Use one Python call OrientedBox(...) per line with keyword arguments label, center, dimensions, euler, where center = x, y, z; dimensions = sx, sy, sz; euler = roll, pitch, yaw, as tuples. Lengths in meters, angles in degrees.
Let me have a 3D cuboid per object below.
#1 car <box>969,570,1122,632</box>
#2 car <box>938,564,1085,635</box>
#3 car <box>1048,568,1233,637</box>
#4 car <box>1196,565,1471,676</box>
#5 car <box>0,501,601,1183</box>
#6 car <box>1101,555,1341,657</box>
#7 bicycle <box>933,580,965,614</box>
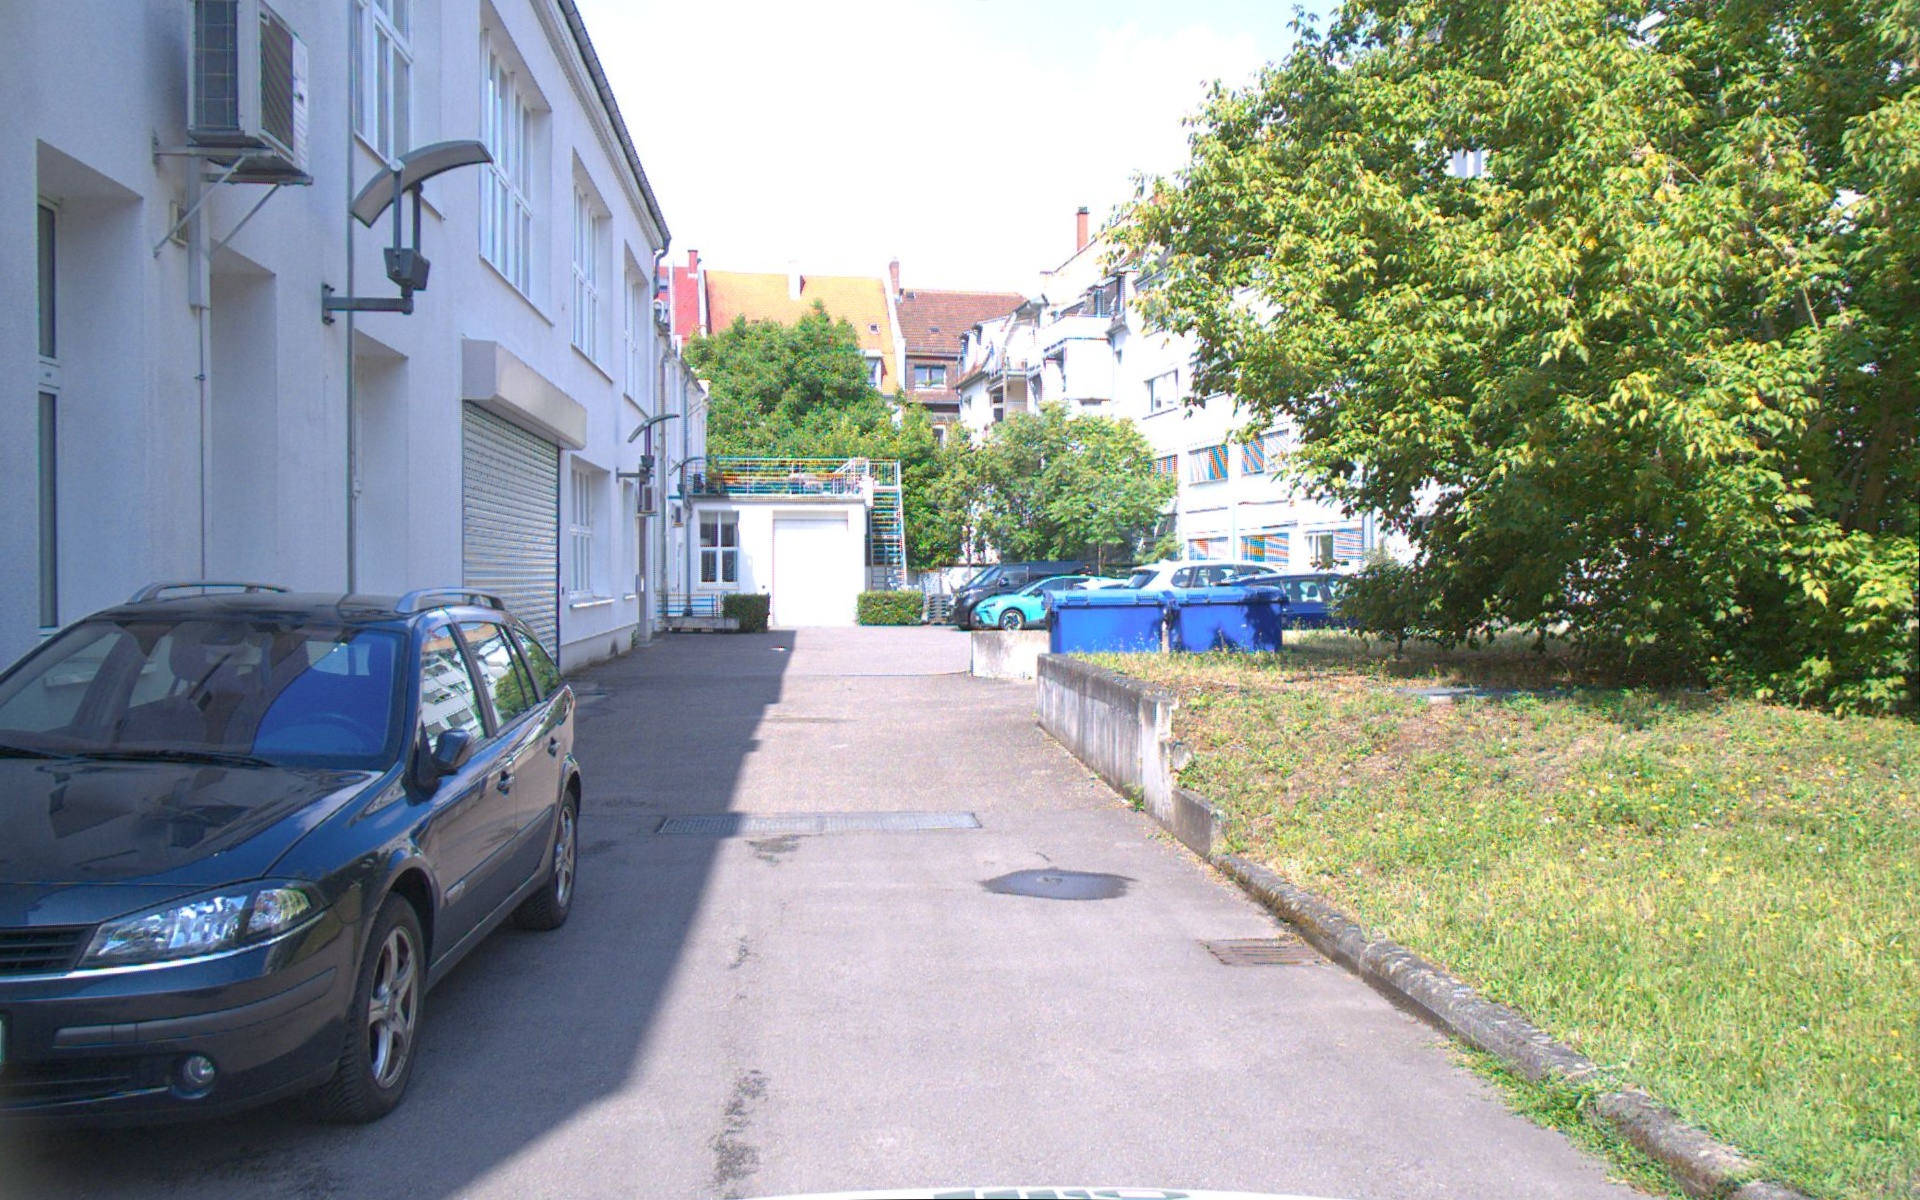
OrientedBox(label="car", center=(2.301, 0.004, 44.850), dimensions=(3.915, 1.601, 1.625), euler=(0, 1, -11))
OrientedBox(label="car", center=(1.451, -0.008, 47.461), dimensions=(3.916, 1.849, 1.659), euler=(2, -1, -11))
OrientedBox(label="car", center=(4.103, 0.037, 37.823), dimensions=(3.916, 1.470, 1.625), euler=(-1, 1, -11))
OrientedBox(label="car", center=(6.109, 0.343, 27.207), dimensions=(4.039, 1.634, 1.750), euler=(2, -1, -11))
OrientedBox(label="car", center=(-2.467, 0.611, 5.719), dimensions=(1.843, 1.467, 4.334), euler=(2, -3, -5))
OrientedBox(label="car", center=(4.706, 0.095, 30.089), dimensions=(3.915, 1.776, 1.944), euler=(0, 0, -11))
OrientedBox(label="bicycle", center=(-0.391, -0.099, 57.034), dimensions=(0.630, 1.137, 1.851), euler=(2, -1, -14))
